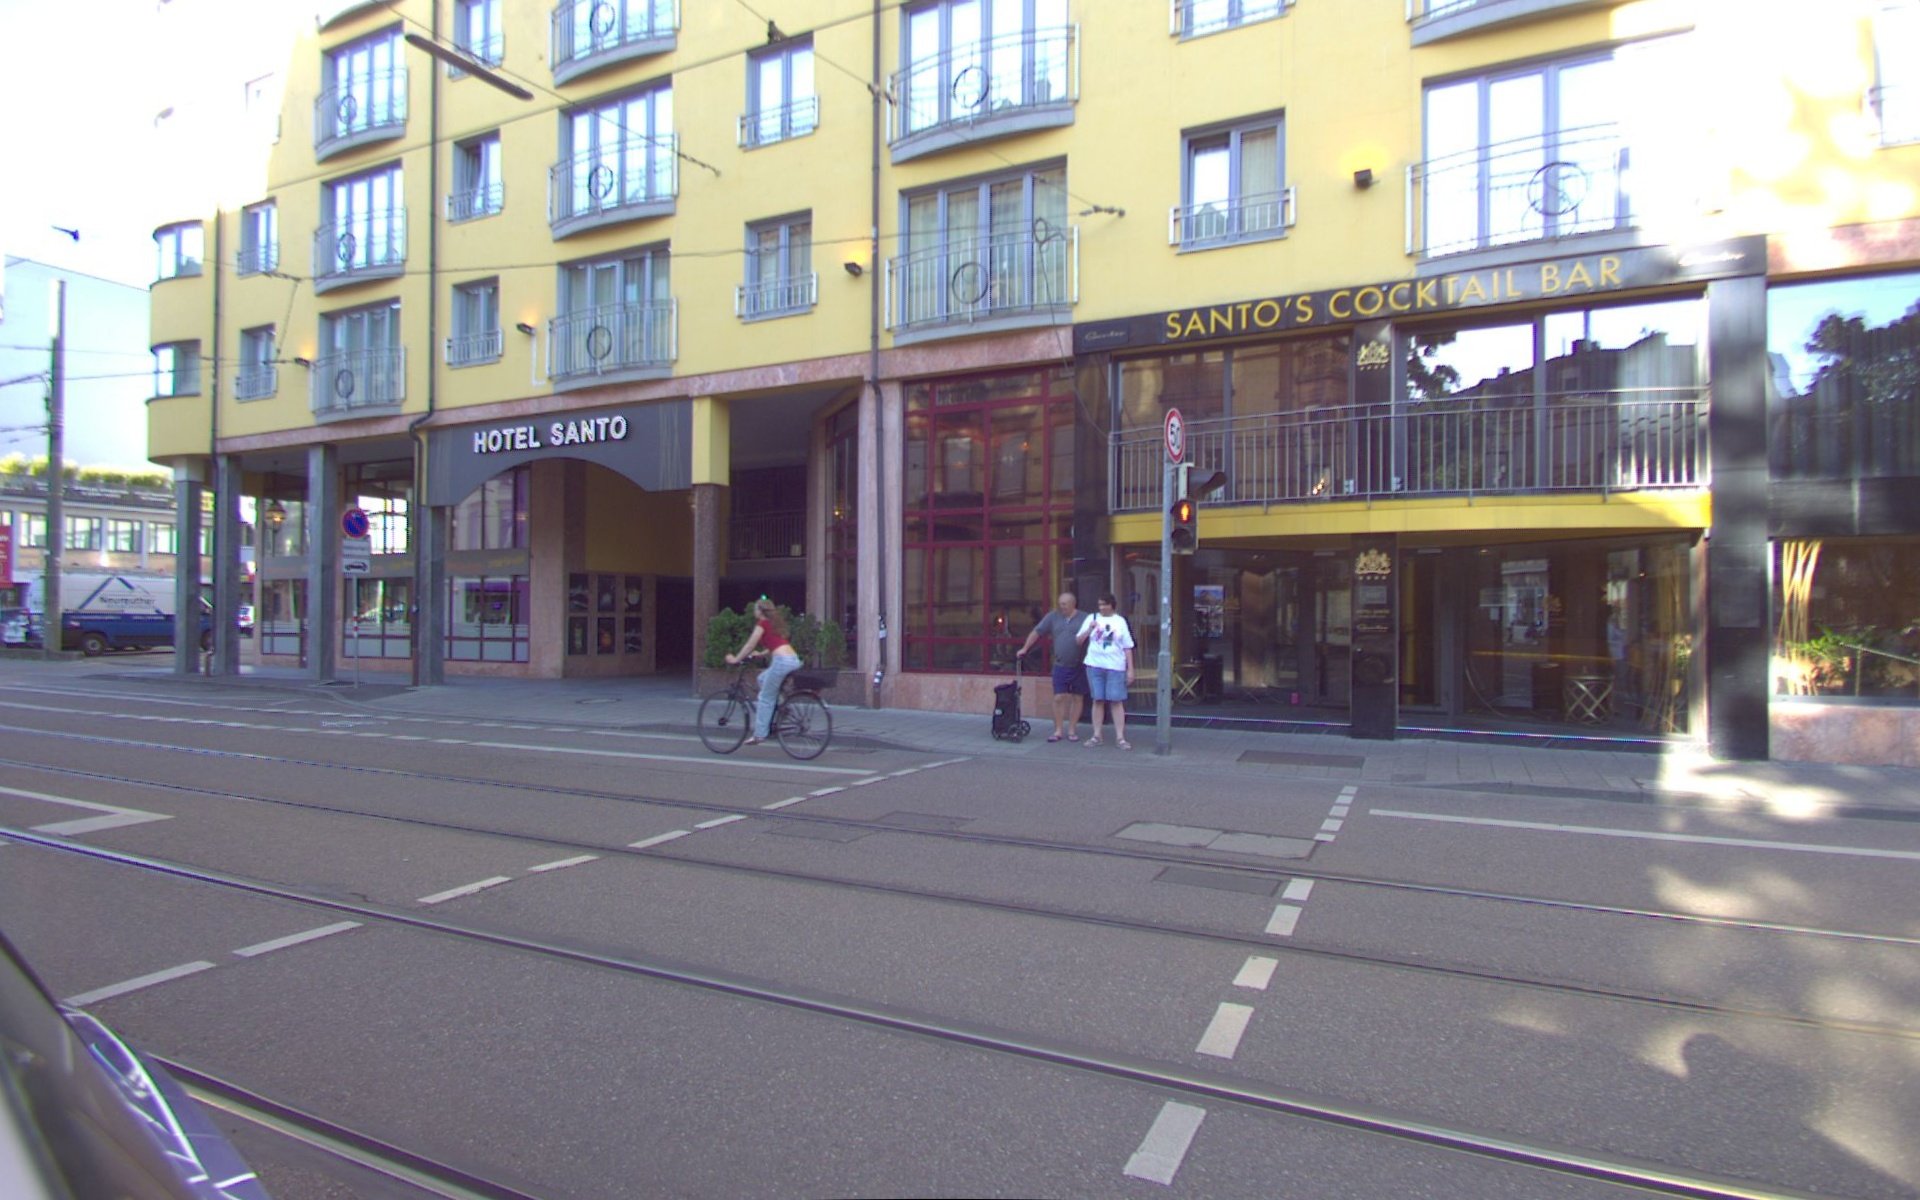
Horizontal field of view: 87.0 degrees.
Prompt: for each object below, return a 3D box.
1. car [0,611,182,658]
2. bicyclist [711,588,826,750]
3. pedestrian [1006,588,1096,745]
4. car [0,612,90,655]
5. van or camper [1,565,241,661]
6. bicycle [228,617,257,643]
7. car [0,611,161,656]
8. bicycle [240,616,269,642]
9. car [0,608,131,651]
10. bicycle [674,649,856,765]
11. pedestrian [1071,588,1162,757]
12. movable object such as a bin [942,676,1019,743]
[{"bbox_3d":[-29.396,1.149,34.227,1.870,1.487,4.562,-1,-2,26],"label":"car"},{"bbox_3d":[-2.048,0.710,10.868,0.985,1.656,0.697,0,-1,25],"label":"bicyclist"},{"bbox_3d":[1.105,0.768,12.169,0.796,1.784,0.742,-1,3,28],"label":"pedestrian"},{"bbox_3d":[-36.225,1.276,38.136,1.870,1.595,4.866,-1,-2,26],"label":"car"},{"bbox_3d":[-27.195,0.459,33.099,2.303,2.849,5.573,-1,-2,27],"label":"van or camper"},{"bbox_3d":[-32.840,1.370,46.301,1.826,1.196,0.428,-1,-2,34],"label":"bicycle"},{"bbox_3d":[-31.448,1.180,35.846,1.870,1.487,4.562,-1,-2,26],"label":"car"},{"bbox_3d":[-32.508,1.331,46.642,1.826,1.196,0.428,-1,-2,34],"label":"bicycle"},{"bbox_3d":[-33.395,1.081,36.868,1.870,1.487,4.562,-1,-2,26],"label":"car"},{"bbox_3d":[-2.107,1.105,10.892,1.887,1.117,0.693,0,-1,25],"label":"bicycle"},{"bbox_3d":[1.845,0.805,11.814,0.749,1.832,1.037,-1,3,25],"label":"pedestrian"},{"bbox_3d":[0.251,1.319,12.304,0.837,0.721,0.381,-1,3,28],"label":"movable object such as a bin"}]
